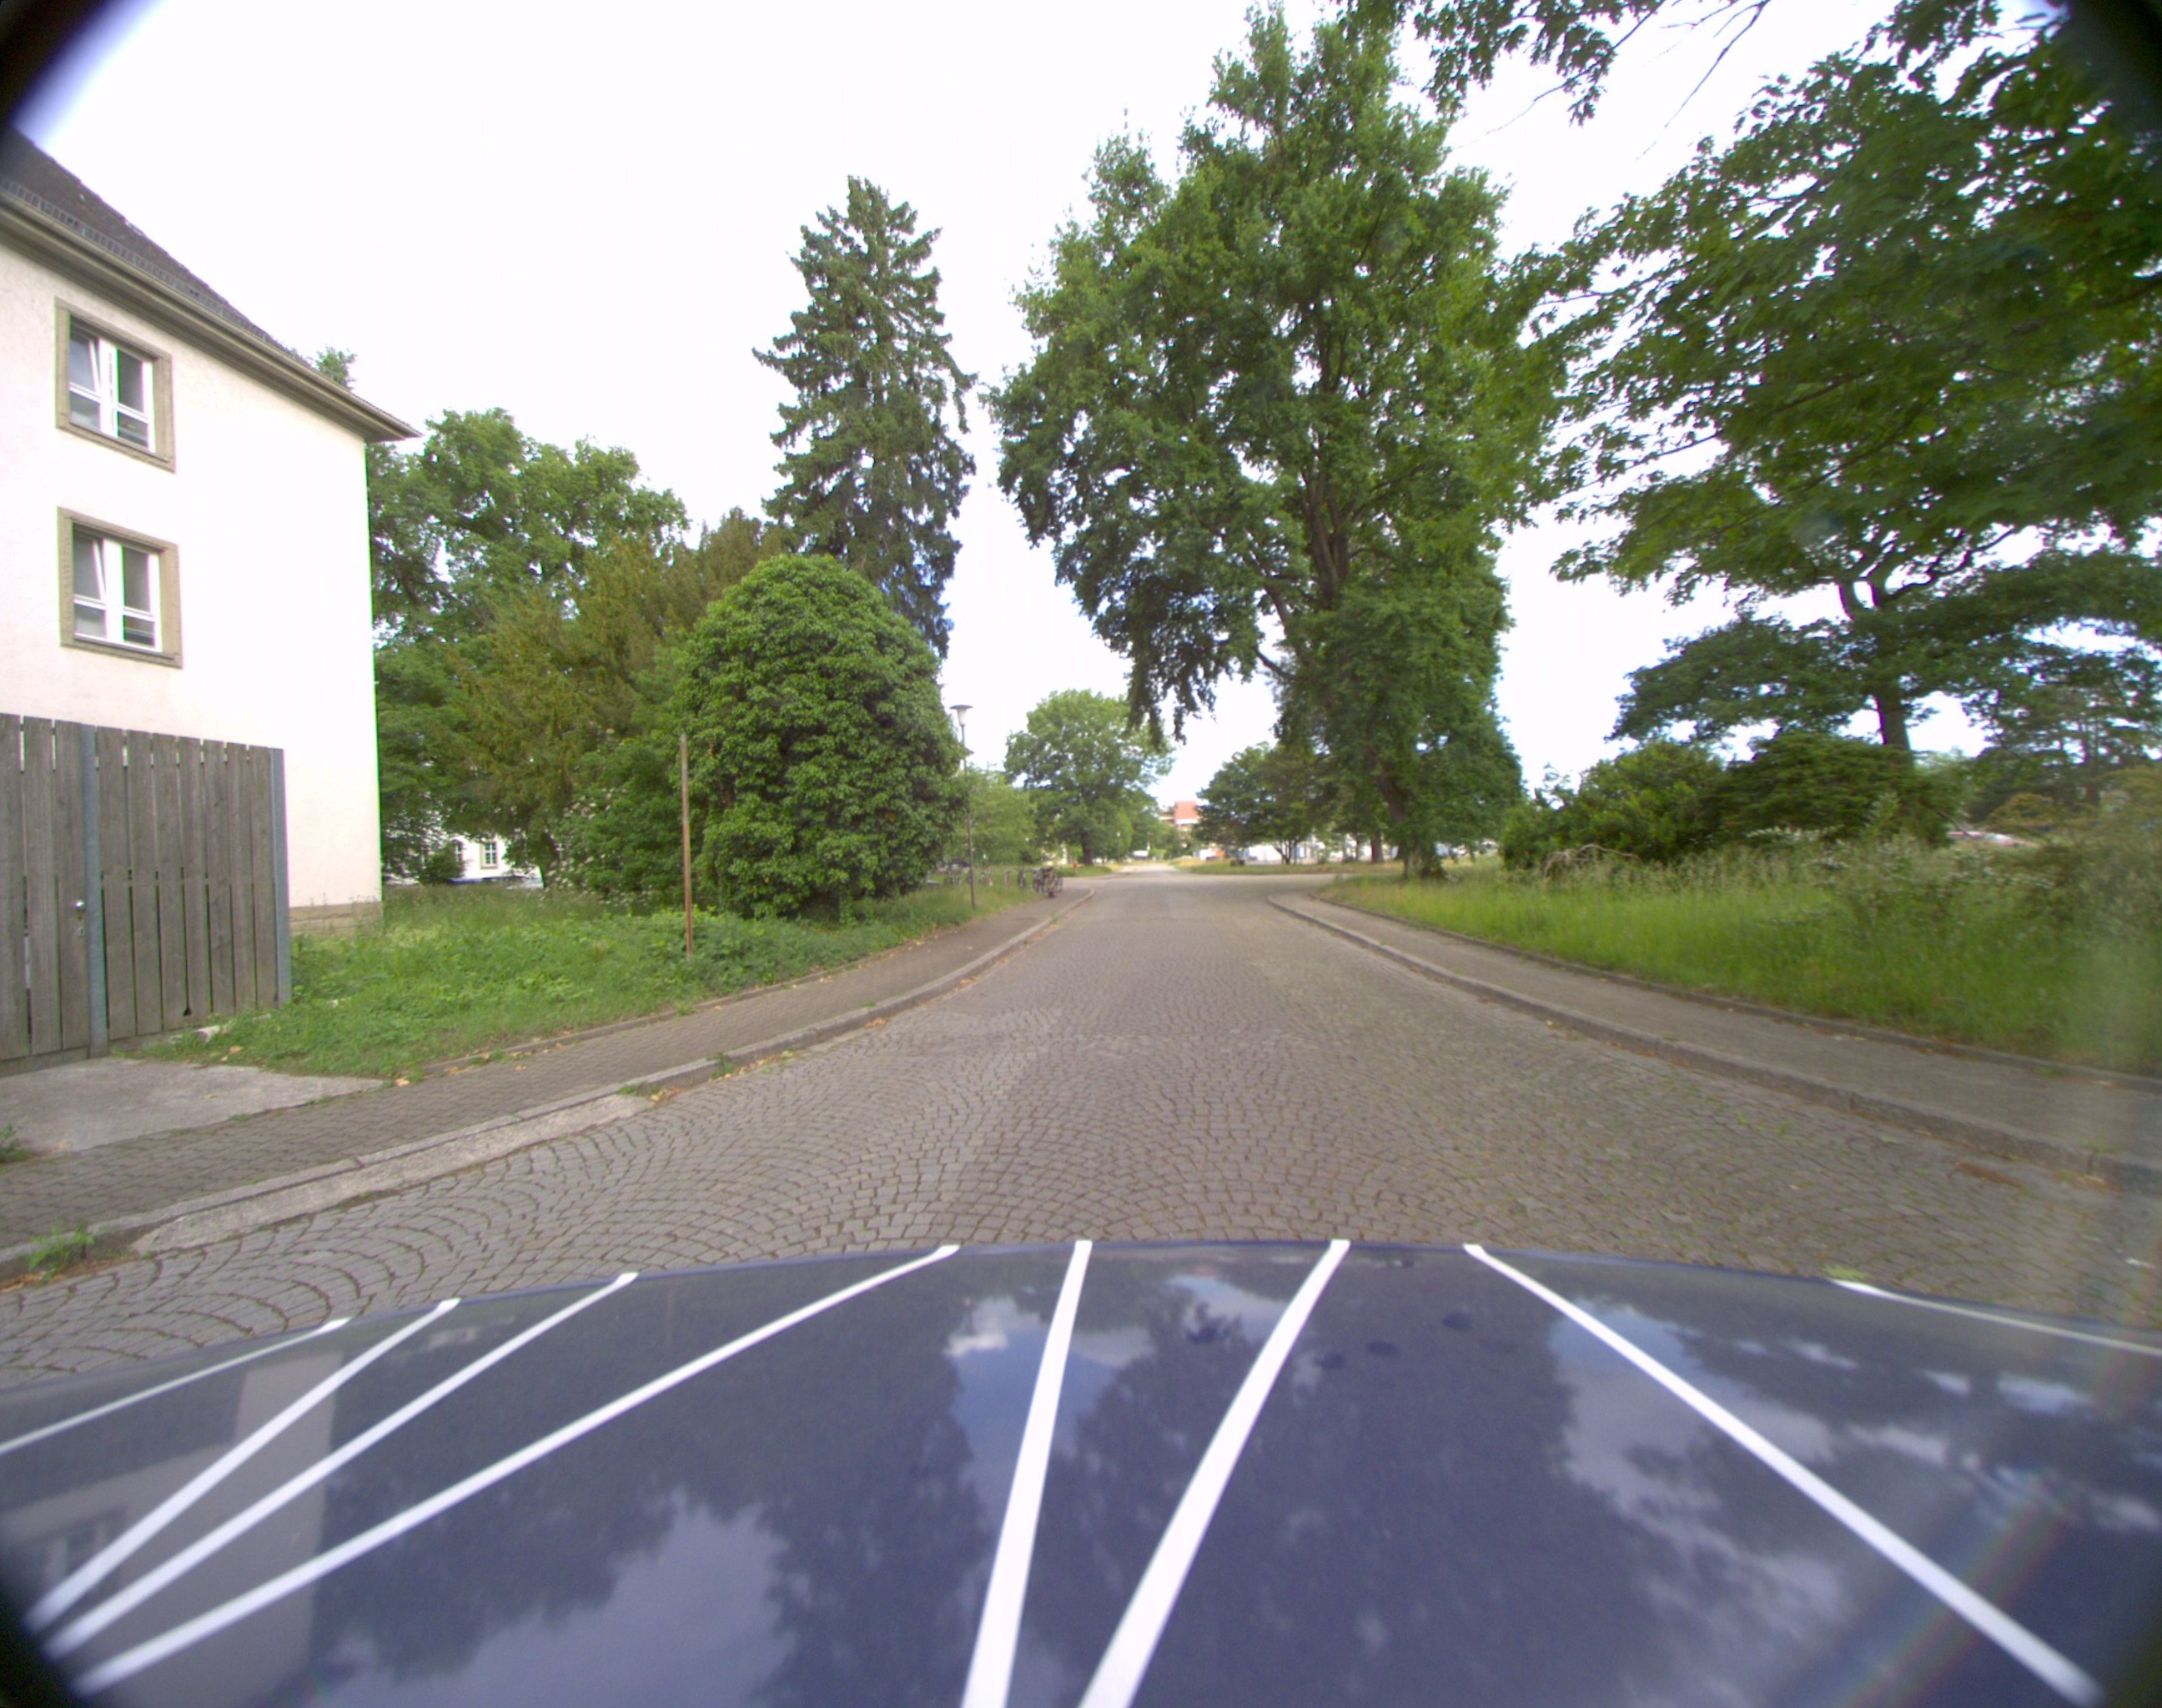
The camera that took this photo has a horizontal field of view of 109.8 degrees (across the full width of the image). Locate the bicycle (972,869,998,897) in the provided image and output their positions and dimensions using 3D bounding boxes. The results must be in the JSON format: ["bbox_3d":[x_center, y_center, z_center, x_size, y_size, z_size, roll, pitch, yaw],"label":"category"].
[{"bbox_3d":[-3.916,1.164,30.952,0.619,1.059,1.823,-2,0,-20],"label":"bicycle"}]

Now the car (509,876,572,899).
[{"bbox_3d":[-32.724,2.021,46.111,1.295,1.210,3.250,-2,0,5],"label":"car"}]

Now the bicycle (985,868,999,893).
[{"bbox_3d":[-4.072,1.197,34.728,0.478,1.002,1.665,-2,2,-11],"label":"bicycle"}]

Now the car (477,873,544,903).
[{"bbox_3d":[-34.951,2.048,46.657,1.438,1.651,3.250,-2,0,5],"label":"car"}]

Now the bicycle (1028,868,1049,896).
[{"bbox_3d":[-1.763,1.132,31.354,0.551,1.108,1.768,-2,0,-12],"label":"bicycle"}]

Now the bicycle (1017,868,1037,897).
[{"bbox_3d":[-2.232,1.148,31.192,0.551,1.108,1.803,-2,0,-12],"label":"bicycle"}]

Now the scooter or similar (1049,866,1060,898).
[{"bbox_3d":[-1.045,1.098,30.049,0.357,1.202,1.137,-2,0,1],"label":"scooter or similar"}]

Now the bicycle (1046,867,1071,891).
[{"bbox_3d":[-1.055,1.145,35.144,0.478,1.002,1.619,-3,2,-25],"label":"bicycle"}]

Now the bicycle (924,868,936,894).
[{"bbox_3d":[-6.774,1.212,34.114,0.478,1.105,1.763,-2,0,-11],"label":"bicycle"}]

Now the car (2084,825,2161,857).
[{"bbox_3d":[50.172,-0.616,35.616,1.576,1.412,3.665,-2,-2,4],"label":"car"}]

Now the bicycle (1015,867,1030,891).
[{"bbox_3d":[-2.676,1.142,34.794,0.478,1.002,1.665,-2,2,-11],"label":"bicycle"}]

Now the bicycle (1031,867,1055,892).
[{"bbox_3d":[-1.758,1.151,35.235,0.478,1.068,1.619,-3,2,-25],"label":"bicycle"}]

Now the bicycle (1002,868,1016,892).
[{"bbox_3d":[-3.296,1.166,34.741,0.478,1.002,1.665,-2,2,-11],"label":"bicycle"}]

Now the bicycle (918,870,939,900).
[{"bbox_3d":[-6.270,1.249,31.314,0.551,1.164,1.754,-2,0,-3],"label":"bicycle"}]

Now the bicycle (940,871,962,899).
[{"bbox_3d":[-5.250,1.212,30.589,0.552,1.059,1.751,-2,0,-20],"label":"bicycle"}]

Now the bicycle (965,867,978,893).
[{"bbox_3d":[-4.971,1.143,34.334,0.478,1.105,1.763,-2,0,-11],"label":"bicycle"}]

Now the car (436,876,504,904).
[{"bbox_3d":[-38.128,2.243,47.476,1.383,1.556,3.250,-2,0,5],"label":"car"}]

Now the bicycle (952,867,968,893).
[{"bbox_3d":[-5.499,1.165,34.426,0.478,1.105,1.763,-2,0,-16],"label":"bicycle"}]
